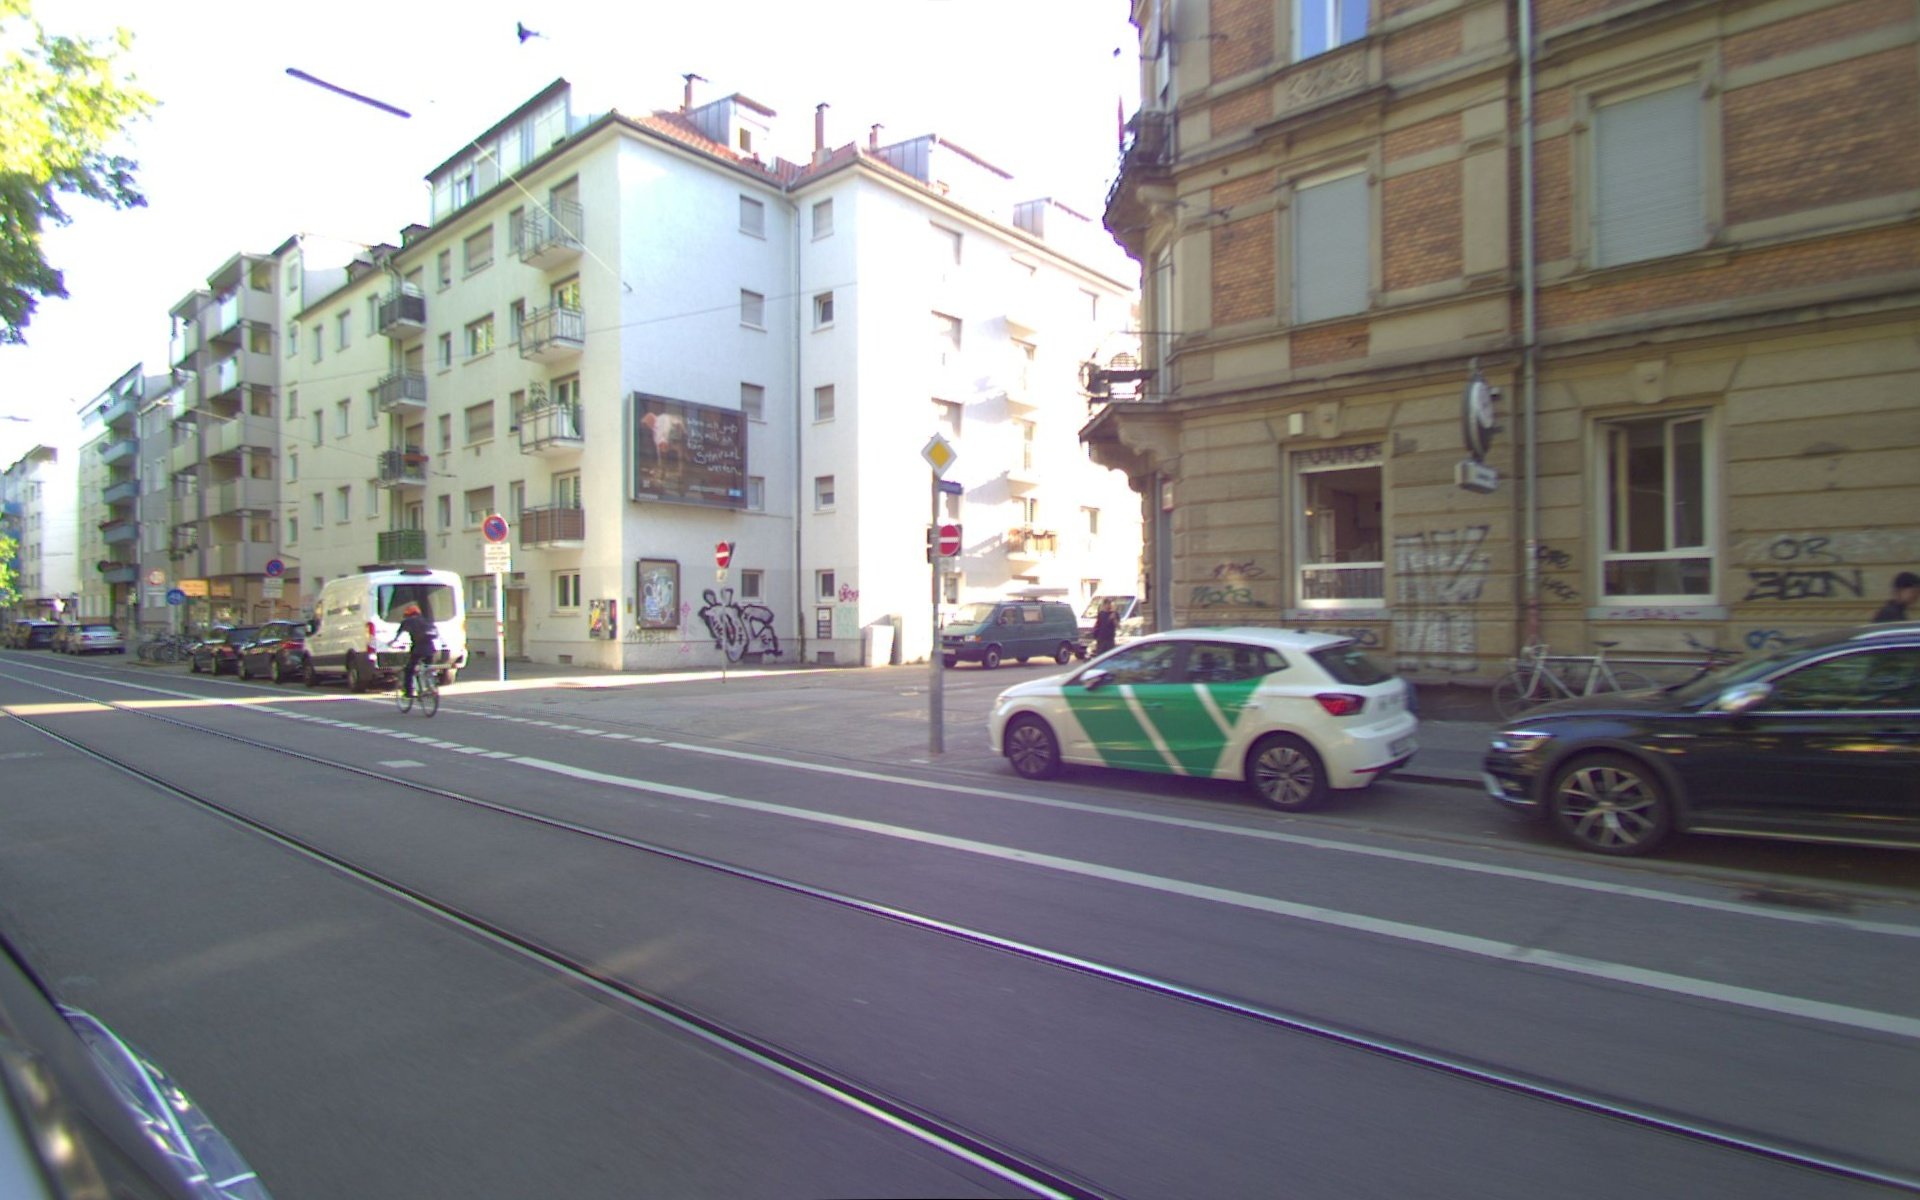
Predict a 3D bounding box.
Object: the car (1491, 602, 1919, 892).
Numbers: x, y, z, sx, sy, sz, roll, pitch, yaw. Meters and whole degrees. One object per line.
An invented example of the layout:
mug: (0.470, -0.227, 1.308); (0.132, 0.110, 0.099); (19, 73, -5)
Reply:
car: (6.054, 0.815, 6.102); (4.782, 1.574, 1.723); (-1, 0, 40)

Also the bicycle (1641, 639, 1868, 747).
bicycle: (8.358, 0.948, 10.735); (1.846, 1.042, 0.368); (-1, -2, 39)

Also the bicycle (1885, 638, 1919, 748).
bicycle: (9.837, 0.878, 9.361); (1.846, 1.042, 0.368); (-1, -2, 39)

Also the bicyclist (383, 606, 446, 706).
bicyclist: (-8.390, 0.843, 15.569); (0.806, 1.493, 0.576); (-1, -2, 41)

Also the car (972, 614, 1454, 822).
car: (2.219, 0.921, 9.502); (4.042, 1.503, 1.723); (-1, 0, 40)

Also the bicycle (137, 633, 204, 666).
bicycle: (-29.497, 1.827, 37.828); (1.945, 1.127, 0.425); (-1, 0, -43)

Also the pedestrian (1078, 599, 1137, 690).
pedestrian: (2.961, 0.879, 20.287); (0.894, 1.762, 0.649); (-4, -2, 45)

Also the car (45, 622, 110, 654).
car: (-43.499, 1.841, 49.846); (4.237, 1.502, 1.776); (-1, -1, 40)

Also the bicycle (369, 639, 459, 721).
bicycle: (-8.454, 1.202, 15.623); (2.230, 1.159, 0.416); (-1, -2, 41)

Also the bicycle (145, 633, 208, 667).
bicycle: (-28.637, 1.808, 37.008); (1.767, 1.127, 0.425); (-1, 0, -43)

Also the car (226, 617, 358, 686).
car: (-17.470, 1.293, 26.402); (4.343, 1.644, 1.701); (-1, -1, 40)

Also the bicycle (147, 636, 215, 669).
bicycle: (-27.710, 1.856, 36.009); (1.871, 1.045, 0.402); (-1, 0, -43)

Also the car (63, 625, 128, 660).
car: (-39.827, 1.916, 46.597); (4.727, 1.502, 1.672); (-1, -1, 42)

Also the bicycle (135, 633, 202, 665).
bicycle: (-29.842, 1.834, 38.173); (1.937, 1.127, 0.440); (-1, 0, -43)

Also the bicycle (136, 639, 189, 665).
bicycle: (-31.065, 2.023, 39.440); (0.400, 0.924, 1.610); (-1, 0, 24)

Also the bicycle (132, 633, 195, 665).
bicycle: (-30.668, 1.887, 39.005); (1.871, 1.127, 0.402); (-1, 0, -43)

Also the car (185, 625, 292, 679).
car: (-21.422, 1.488, 29.992); (4.572, 1.467, 1.700); (-1, -1, 43)

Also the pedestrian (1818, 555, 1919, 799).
pedestrian: (7.372, 0.570, 7.779); (1.053, 1.814, 0.678); (-1, 0, 32)

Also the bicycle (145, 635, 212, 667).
bicycle: (-28.102, 1.838, 36.423); (1.871, 1.045, 0.402); (-1, 0, -43)

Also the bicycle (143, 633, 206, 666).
bicycle: (-28.984, 1.816, 37.372); (1.797, 1.127, 0.425); (-1, 0, -43)

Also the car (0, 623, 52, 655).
car: (-55.642, 2.316, 60.147); (4.484, 1.751, 1.762); (-1, 0, 39)

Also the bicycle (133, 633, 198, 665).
bicycle: (-30.232, 1.843, 38.545); (1.908, 1.127, 0.440); (-1, 0, -43)

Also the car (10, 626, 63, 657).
car: (-51.874, 2.325, 56.801); (4.199, 1.612, 1.639); (-1, 0, 40)

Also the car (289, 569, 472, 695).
car: (-13.328, 0.700, 23.097); (5.666, 2.555, 2.042); (-1, -1, 43)

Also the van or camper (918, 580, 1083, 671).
van or camper: (1.275, 0.714, 29.257); (2.021, 2.405, 5.048); (-2, -2, 42)

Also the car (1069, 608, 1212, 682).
car: (4.219, 1.019, 23.508); (3.133, 1.597, 1.722); (1, -3, -44)

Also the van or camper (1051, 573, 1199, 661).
van or camper: (5.652, 0.593, 33.964); (2.156, 2.690, 5.930); (-3, -2, 40)
